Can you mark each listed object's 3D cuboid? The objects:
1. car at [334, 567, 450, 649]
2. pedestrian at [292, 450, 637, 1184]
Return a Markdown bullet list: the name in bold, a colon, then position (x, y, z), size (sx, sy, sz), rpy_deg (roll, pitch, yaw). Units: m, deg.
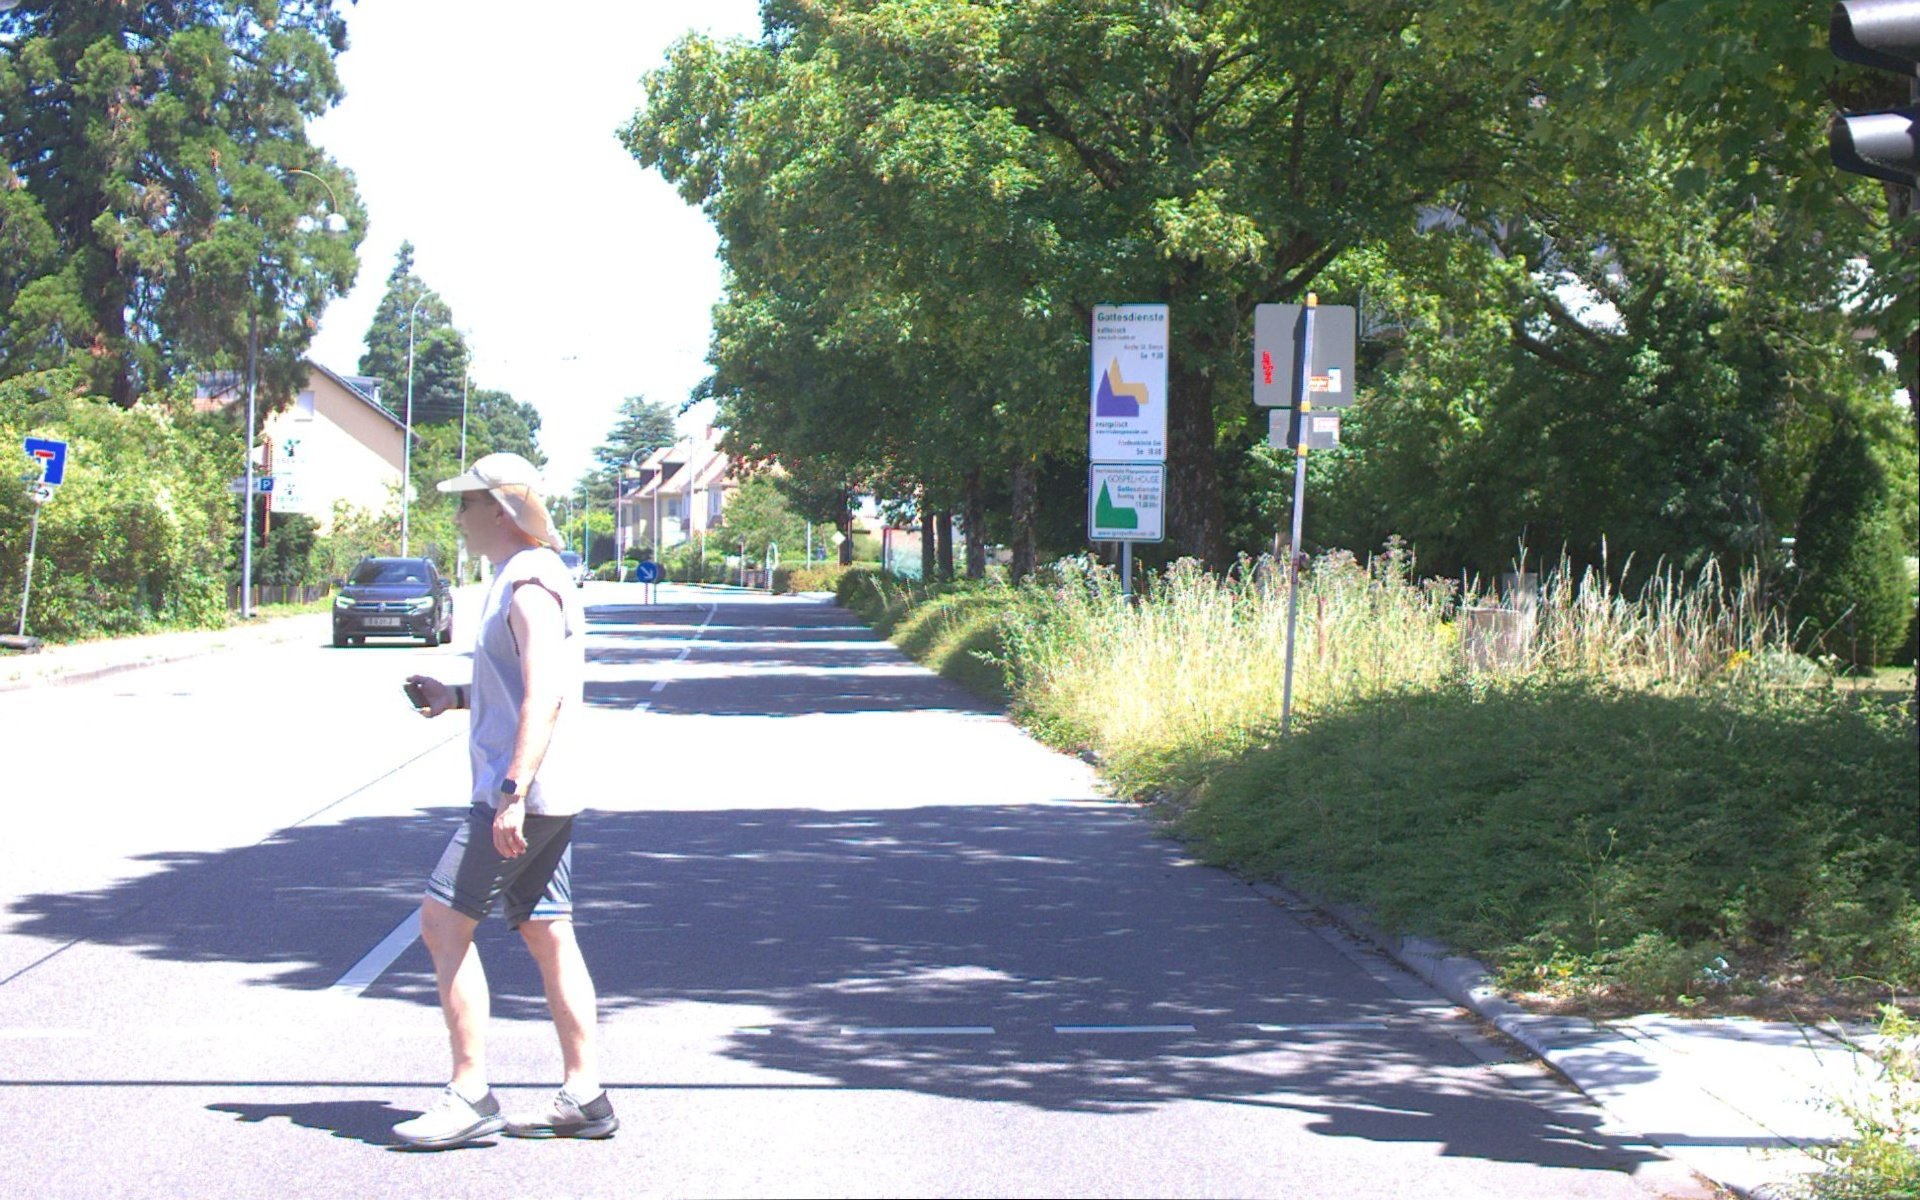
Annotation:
- **car**: position (-9.553, 0.126, 58.010), size (1.431, 1.318, 3.355), rpy_deg (1, 0, -1)
- **pedestrian**: position (-1.229, 0.511, 8.565), size (0.614, 1.745, 0.561), rpy_deg (1, 0, 29)
